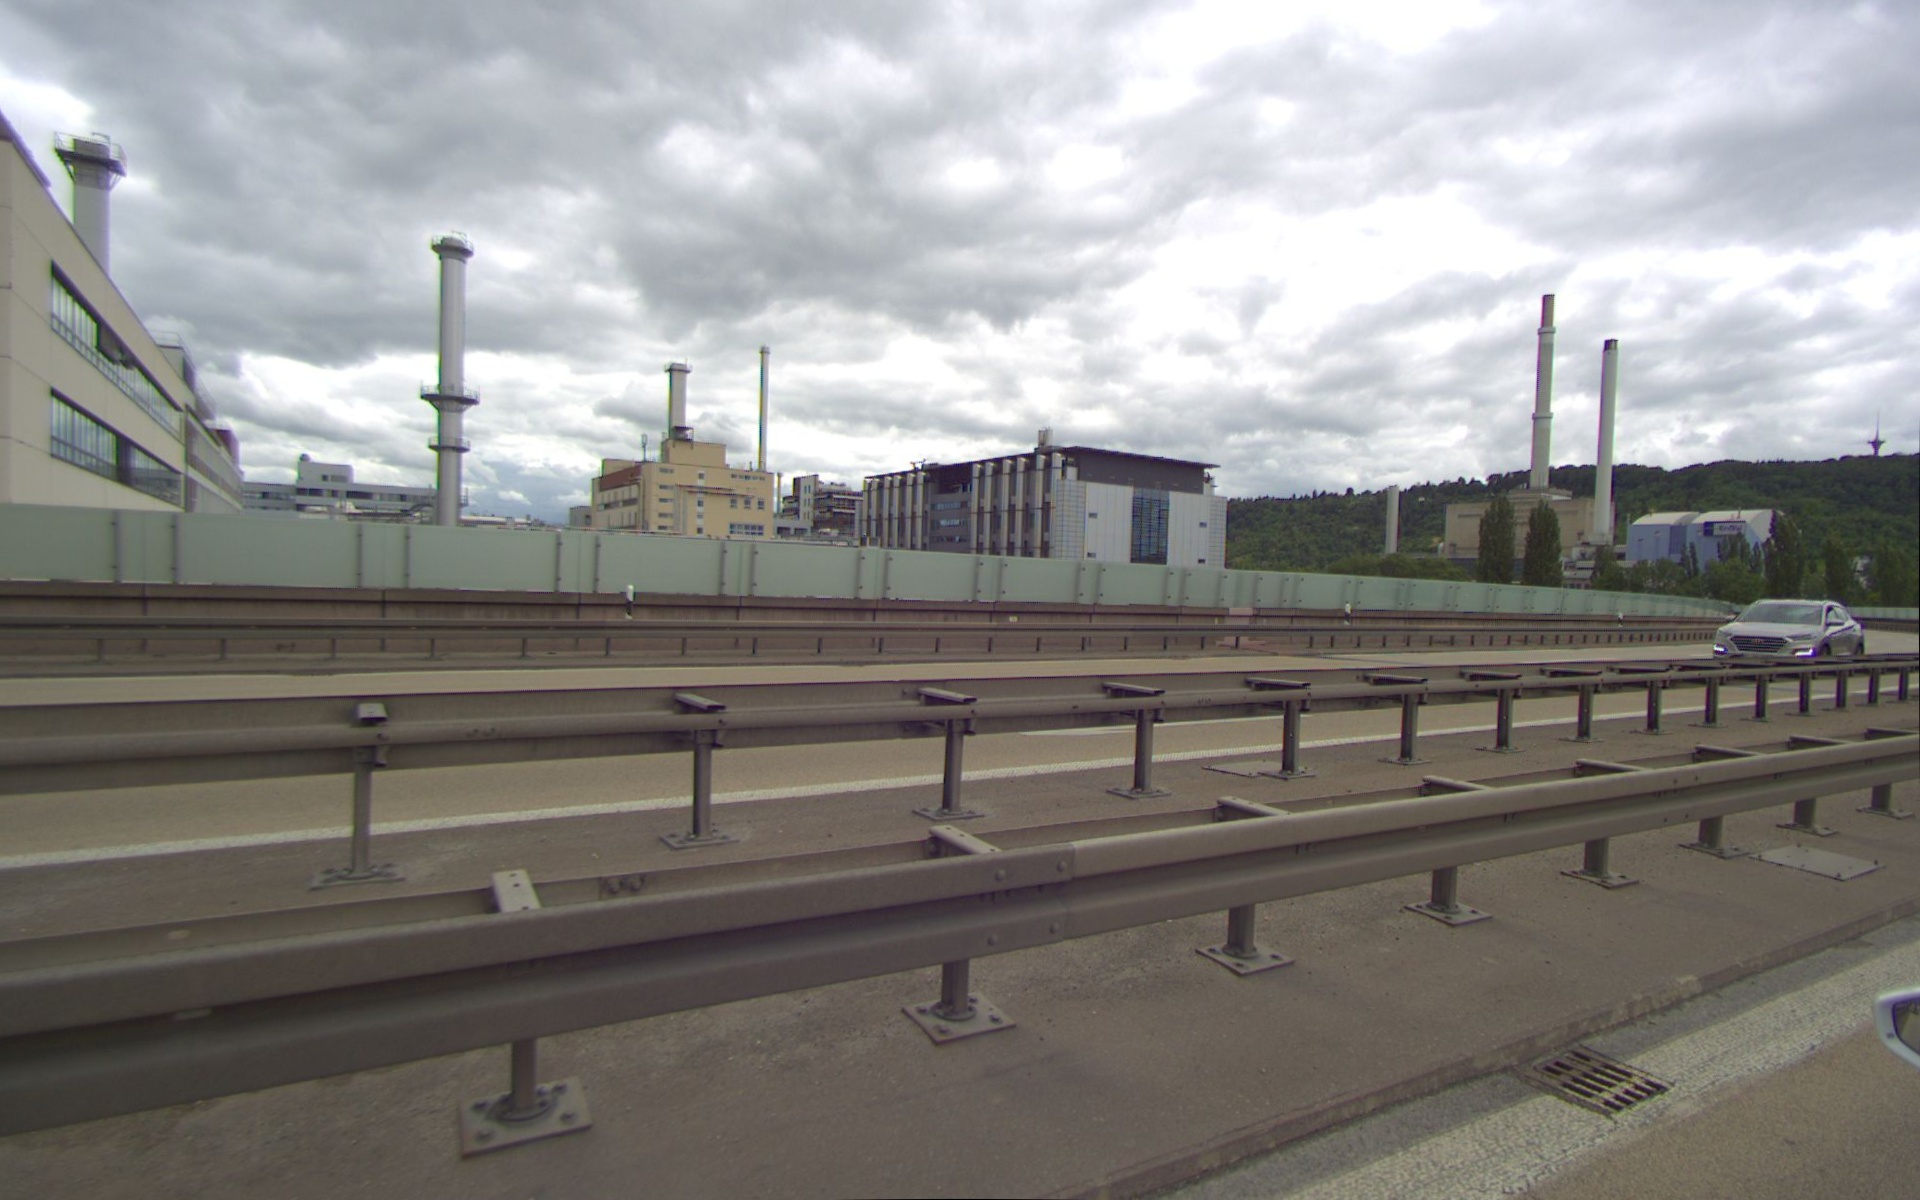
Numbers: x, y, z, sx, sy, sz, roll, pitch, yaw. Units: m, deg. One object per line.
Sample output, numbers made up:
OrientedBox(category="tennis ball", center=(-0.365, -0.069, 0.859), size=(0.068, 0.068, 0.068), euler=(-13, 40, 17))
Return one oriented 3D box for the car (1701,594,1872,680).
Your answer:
OrientedBox(category="car", center=(18.098, 0.766, 21.937), size=(4.365, 1.695, 1.832), euler=(1, 0, -36))
